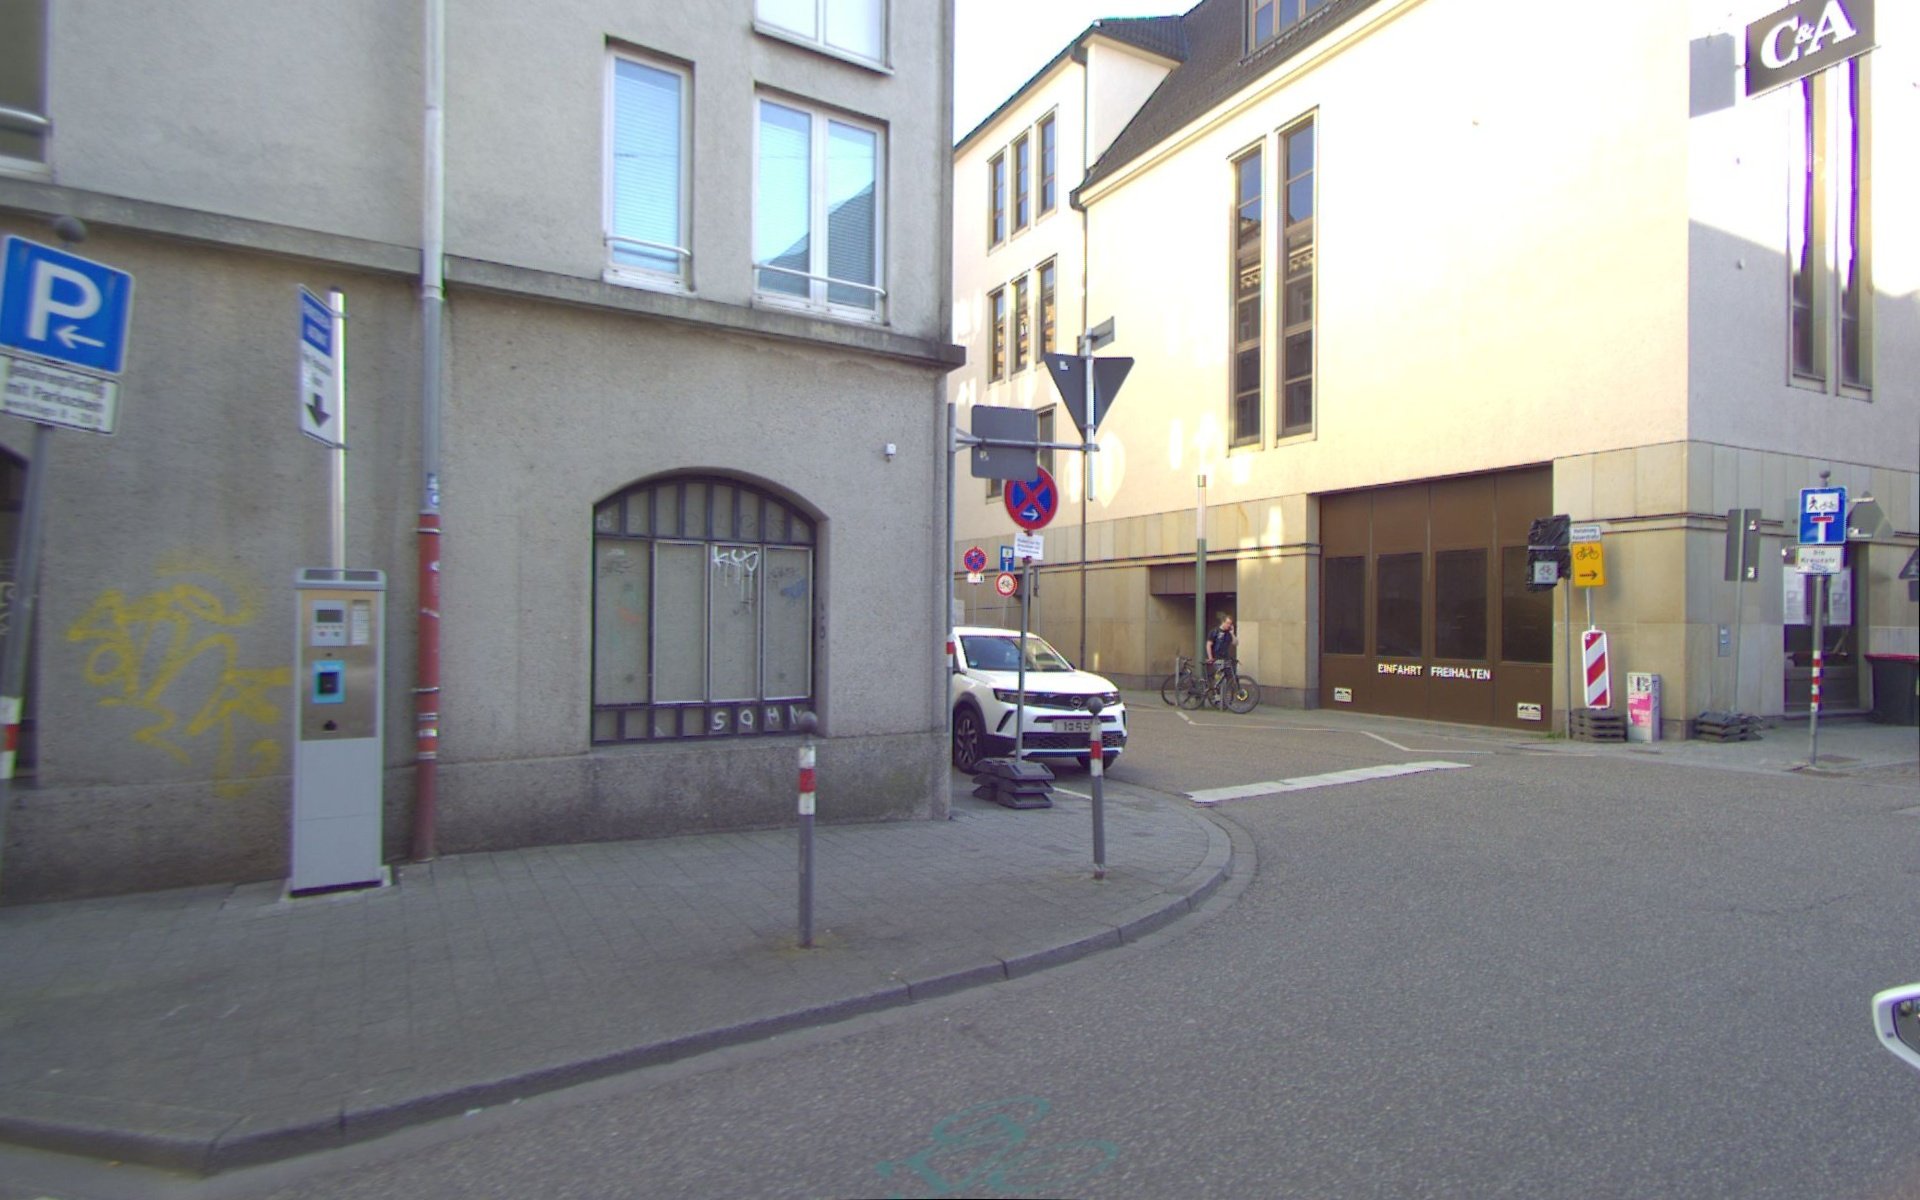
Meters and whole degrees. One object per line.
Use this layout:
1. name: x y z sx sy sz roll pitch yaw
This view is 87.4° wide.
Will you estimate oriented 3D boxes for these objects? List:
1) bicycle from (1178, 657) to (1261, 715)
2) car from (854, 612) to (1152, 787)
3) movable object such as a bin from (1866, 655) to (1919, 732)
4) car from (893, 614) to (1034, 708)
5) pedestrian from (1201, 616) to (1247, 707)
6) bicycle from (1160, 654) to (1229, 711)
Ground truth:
1. bicycle: 4.810 1.580 18.701 0.223 0.978 1.680 1 -1 -39
2. car: 0.309 1.016 11.835 1.741 1.677 3.971 1 -2 -28
3. movable object such as a bin: 14.284 1.401 15.244 0.705 1.075 0.605 1 1 -33
4. car: -0.050 1.205 20.134 1.735 1.677 3.986 1 -3 -17
5. pedestrian: 5.196 1.190 19.745 0.681 1.725 0.663 0 0 36
6. bicycle: 4.534 1.580 19.483 0.268 1.017 1.472 1 -1 -38
